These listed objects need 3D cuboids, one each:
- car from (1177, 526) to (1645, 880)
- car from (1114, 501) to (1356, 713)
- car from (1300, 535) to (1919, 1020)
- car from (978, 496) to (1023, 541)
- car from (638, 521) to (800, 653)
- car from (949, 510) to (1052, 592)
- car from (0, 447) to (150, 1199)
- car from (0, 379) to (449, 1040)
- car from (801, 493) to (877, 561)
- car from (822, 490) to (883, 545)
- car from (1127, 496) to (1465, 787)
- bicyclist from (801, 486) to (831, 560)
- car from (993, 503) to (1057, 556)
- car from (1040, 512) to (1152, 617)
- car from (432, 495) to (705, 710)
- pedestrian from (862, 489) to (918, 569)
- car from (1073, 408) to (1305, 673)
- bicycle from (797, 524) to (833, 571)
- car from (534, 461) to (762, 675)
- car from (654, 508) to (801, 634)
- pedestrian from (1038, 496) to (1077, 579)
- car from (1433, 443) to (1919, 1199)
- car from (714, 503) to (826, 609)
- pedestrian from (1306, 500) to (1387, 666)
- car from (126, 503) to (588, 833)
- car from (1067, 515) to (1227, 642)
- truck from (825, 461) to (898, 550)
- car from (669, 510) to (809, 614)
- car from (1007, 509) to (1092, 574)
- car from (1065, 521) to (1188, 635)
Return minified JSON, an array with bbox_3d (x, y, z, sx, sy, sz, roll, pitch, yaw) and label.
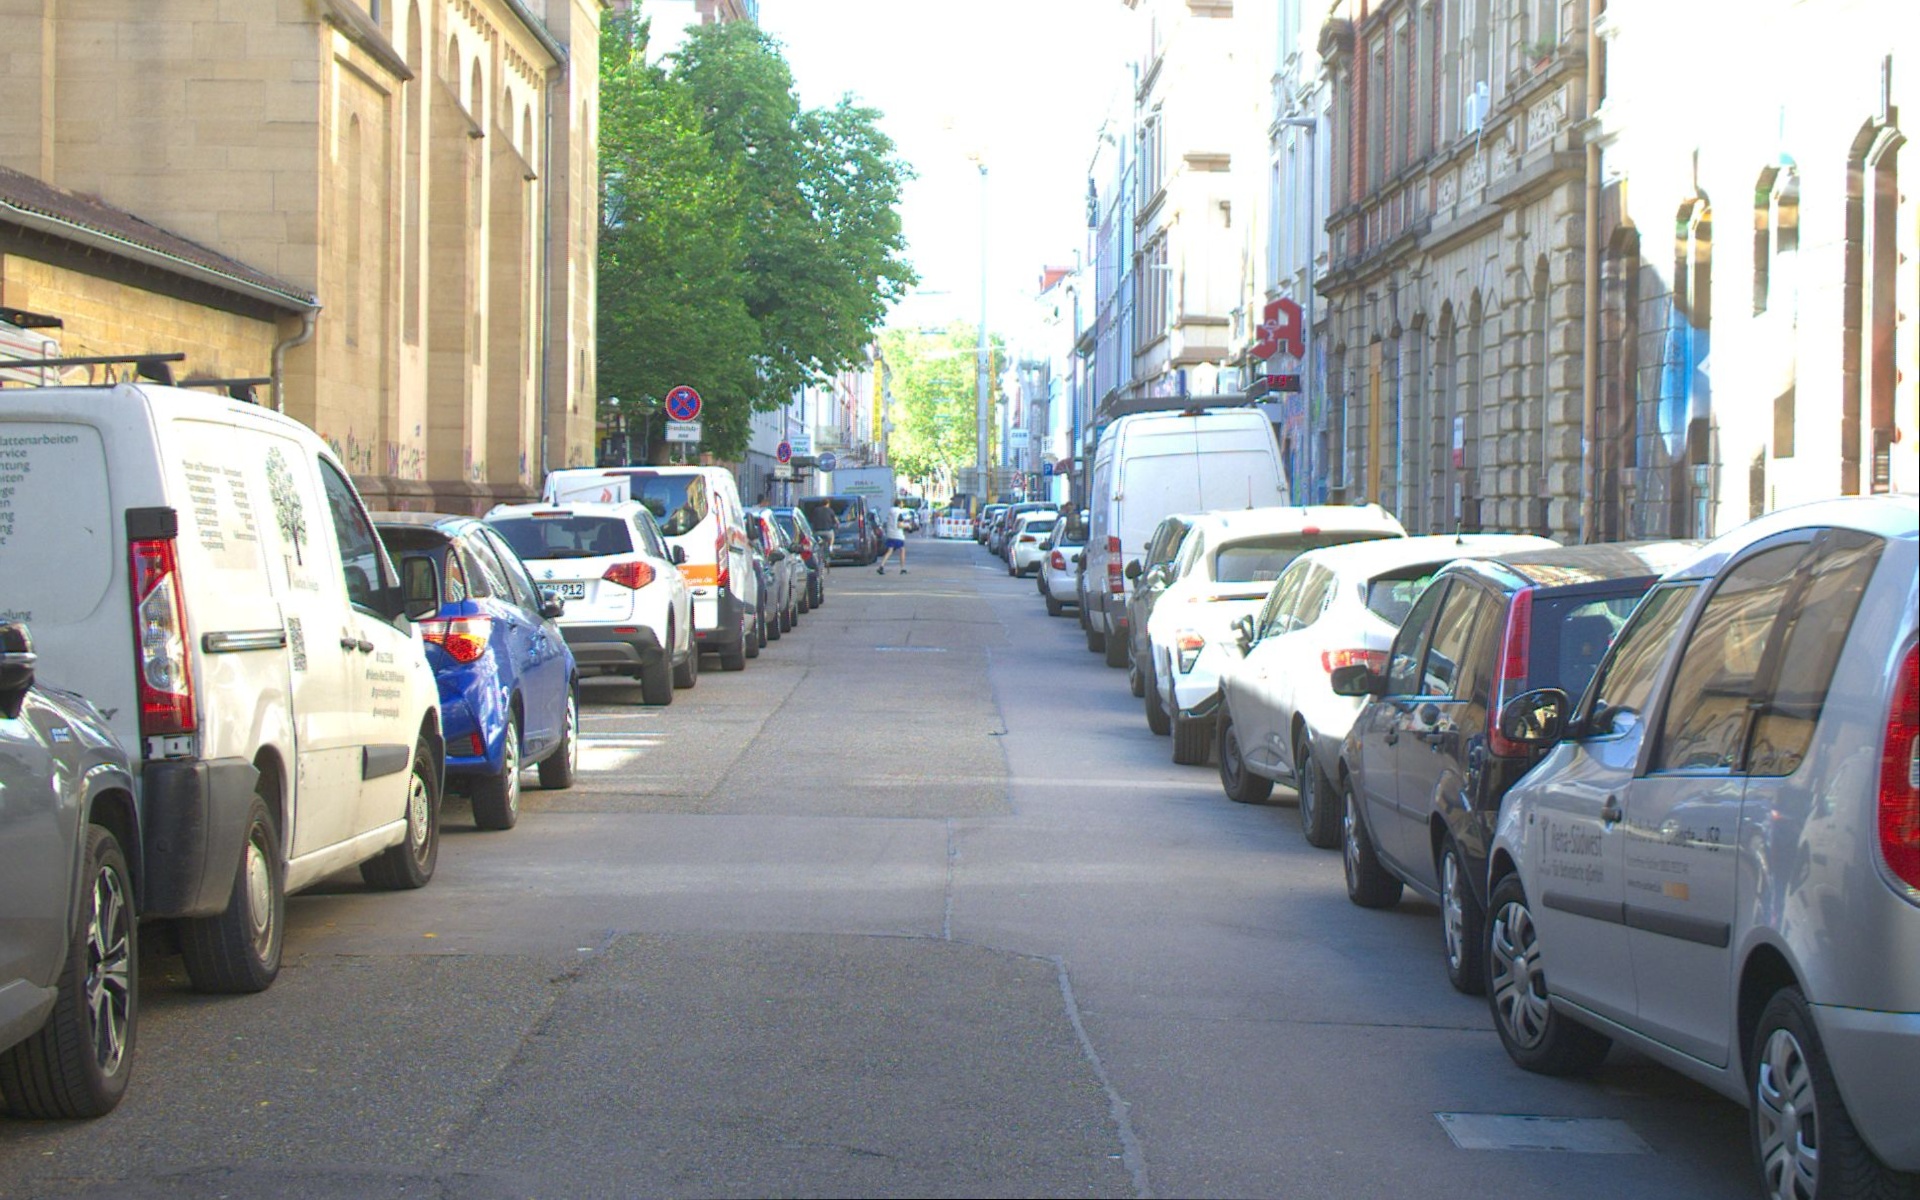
[{"bbox_3d":[2.206,0.436,17.817,1.572,1.520,3.909,3,1,-4],"label":"car"},{"bbox_3d":[2.260,0.004,29.127,1.687,1.637,3.925,1,2,0],"label":"car"},{"bbox_3d":[2.285,0.535,12.835,1.535,1.508,3.682,0,2,-2],"label":"car"},{"bbox_3d":[1.859,-3.764,158.426,1.993,2.007,4.000,1,2,0],"label":"car"},{"bbox_3d":[-2.786,-0.187,40.436,1.615,1.447,3.950,0,2,0],"label":"car"},{"bbox_3d":[0.751,-0.969,65.907,1.716,1.483,3.870,1,2,-3],"label":"car"},{"bbox_3d":[-2.912,0.494,6.820,1.740,1.641,4.290,1,2,-2],"label":"car"},{"bbox_3d":[-3.077,0.224,11.943,1.845,1.856,4.465,1,2,1],"label":"car"},{"bbox_3d":[-3.293,-2.007,94.102,1.875,1.790,4.000,1,2,0],"label":"car"},{"bbox_3d":[-3.617,-2.793,115.974,1.875,1.790,4.000,1,2,0],"label":"car"},{"bbox_3d":[2.156,0.216,23.118,1.808,1.684,4.214,3,1,0],"label":"car"},{"bbox_3d":[-3.302,-1.773,78.904,0.605,1.682,0.885,1,1,0],"label":"bicyclist"},{"bbox_3d":[2.174,-2.385,116.158,1.993,1.626,4.000,4,2,0],"label":"car"},{"bbox_3d":[2.080,-0.576,53.559,1.604,1.499,4.000,3,2,1],"label":"car"},{"bbox_3d":[-3.118,-0.032,28.033,1.742,1.580,3.869,2,2,0],"label":"car"},{"bbox_3d":[-1.644,-1.667,80.350,1.008,1.837,0.785,1,2,-29],"label":"pedestrian"},{"bbox_3d":[2.404,-0.687,37.546,2.068,2.602,5.888,2,2,0],"label":"car"},{"bbox_3d":[-3.326,-1.212,78.939,0.739,1.040,1.859,1,2,0],"label":"bicycle"},{"bbox_3d":[-2.999,-0.358,33.887,1.864,1.950,4.611,0,2,-1],"label":"car"},{"bbox_3d":[-2.962,-0.412,44.427,1.673,1.553,4.000,0,2,-1],"label":"car"},{"bbox_3d":[2.190,-1.408,77.045,0.681,1.837,0.695,2,2,-11],"label":"pedestrian"},{"bbox_3d":[2.350,0.510,8.400,1.703,1.708,3.938,0,2,-2],"label":"car"},{"bbox_3d":[-2.999,-0.721,54.906,1.600,1.608,3.809,-1,1,-1],"label":"car"},{"bbox_3d":[4.202,-0.192,37.427,0.639,1.766,0.679,3,1,-8],"label":"pedestrian"},{"bbox_3d":[-2.944,0.253,17.532,1.687,1.471,3.861,-1,2,0],"label":"car"},{"bbox_3d":[2.376,-0.319,44.697,1.779,1.481,4.360,3,2,0],"label":"car"},{"bbox_3d":[-3.745,-3.646,132.430,2.532,3.270,6.995,1,2,0],"label":"truck"},{"bbox_3d":[-3.145,-0.576,49.539,1.570,1.393,3.808,-2,1,3],"label":"car"},{"bbox_3d":[2.115,-1.414,82.094,1.897,1.483,3.870,1,2,0],"label":"car"},{"bbox_3d":[2.345,-0.342,49.170,1.570,1.490,3.653,3,2,1],"label":"car"}]
